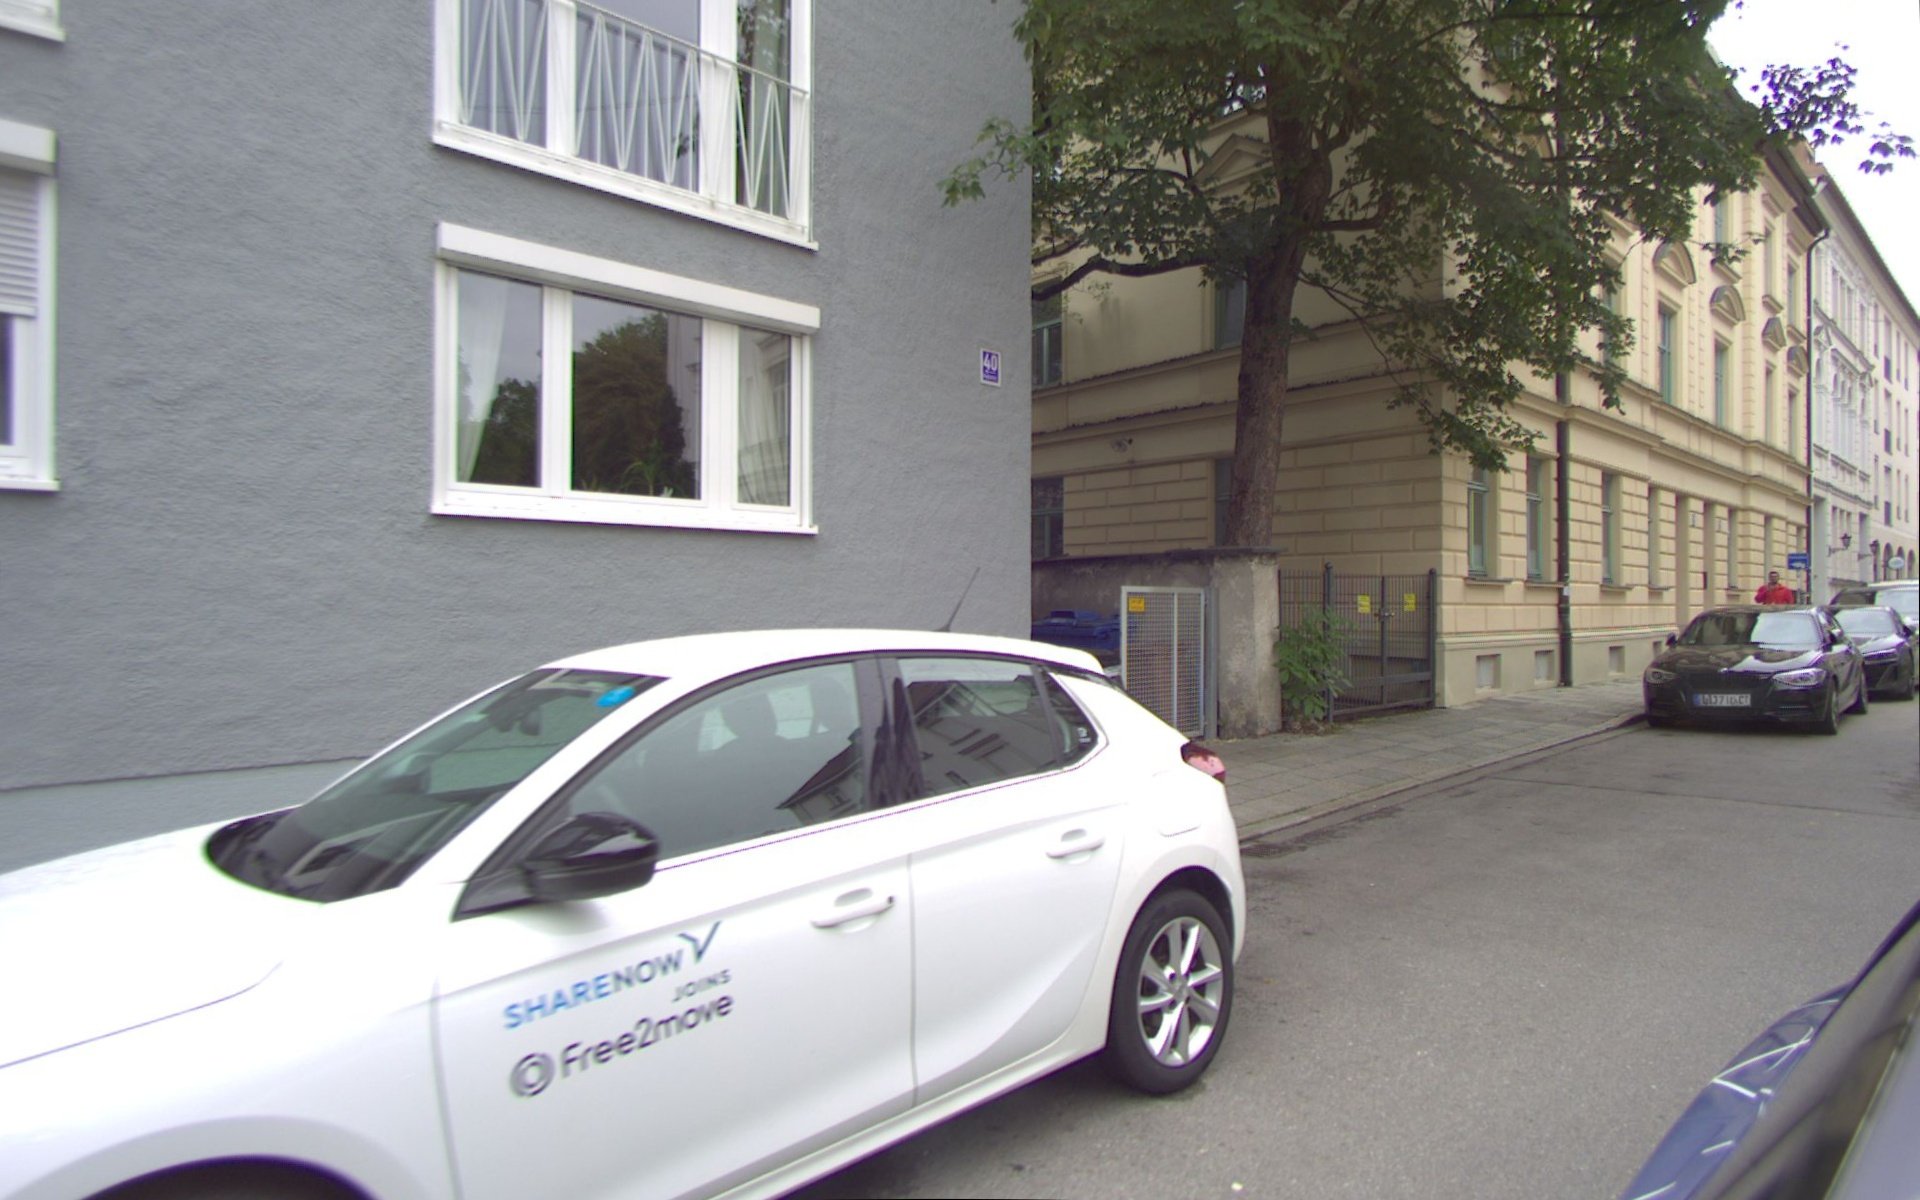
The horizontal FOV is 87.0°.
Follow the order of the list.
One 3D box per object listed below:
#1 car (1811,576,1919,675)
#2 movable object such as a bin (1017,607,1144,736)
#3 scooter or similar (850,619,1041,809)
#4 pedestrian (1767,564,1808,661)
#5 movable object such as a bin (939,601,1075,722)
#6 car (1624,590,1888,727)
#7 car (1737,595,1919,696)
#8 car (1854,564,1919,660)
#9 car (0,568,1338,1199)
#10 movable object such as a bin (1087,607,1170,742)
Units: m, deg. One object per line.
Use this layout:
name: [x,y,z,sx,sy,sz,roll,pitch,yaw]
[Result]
car: [17.930,0.426,19.224,4.430,1.708,1.997,0,1,-40]
movable object such as a bin: [1.380,0.786,11.611,1.035,1.377,1.000,0,-2,-42]
scooter or similar: [-0.080,0.757,7.234,1.351,1.189,0.506,-1,1,-40]
pedestrian: [17.523,0.260,21.430,0.448,2.003,0.580,0,-1,-41]
movable object such as a bin: [0.570,0.721,12.416,1.148,1.377,1.205,0,-2,-42]
car: [9.997,0.616,12.577,4.433,1.392,1.857,-1,-1,-42]
car: [13.967,0.598,15.821,4.512,1.330,1.997,0,1,-40]
car: [22.346,0.251,23.164,4.971,2.039,1.998,0,1,-39]
car: [-0.891,0.729,2.907,4.267,1.464,1.771,0,-3,-40]
movable object such as a bin: [1.808,0.777,10.848,0.622,1.377,0.590,0,-2,-42]
